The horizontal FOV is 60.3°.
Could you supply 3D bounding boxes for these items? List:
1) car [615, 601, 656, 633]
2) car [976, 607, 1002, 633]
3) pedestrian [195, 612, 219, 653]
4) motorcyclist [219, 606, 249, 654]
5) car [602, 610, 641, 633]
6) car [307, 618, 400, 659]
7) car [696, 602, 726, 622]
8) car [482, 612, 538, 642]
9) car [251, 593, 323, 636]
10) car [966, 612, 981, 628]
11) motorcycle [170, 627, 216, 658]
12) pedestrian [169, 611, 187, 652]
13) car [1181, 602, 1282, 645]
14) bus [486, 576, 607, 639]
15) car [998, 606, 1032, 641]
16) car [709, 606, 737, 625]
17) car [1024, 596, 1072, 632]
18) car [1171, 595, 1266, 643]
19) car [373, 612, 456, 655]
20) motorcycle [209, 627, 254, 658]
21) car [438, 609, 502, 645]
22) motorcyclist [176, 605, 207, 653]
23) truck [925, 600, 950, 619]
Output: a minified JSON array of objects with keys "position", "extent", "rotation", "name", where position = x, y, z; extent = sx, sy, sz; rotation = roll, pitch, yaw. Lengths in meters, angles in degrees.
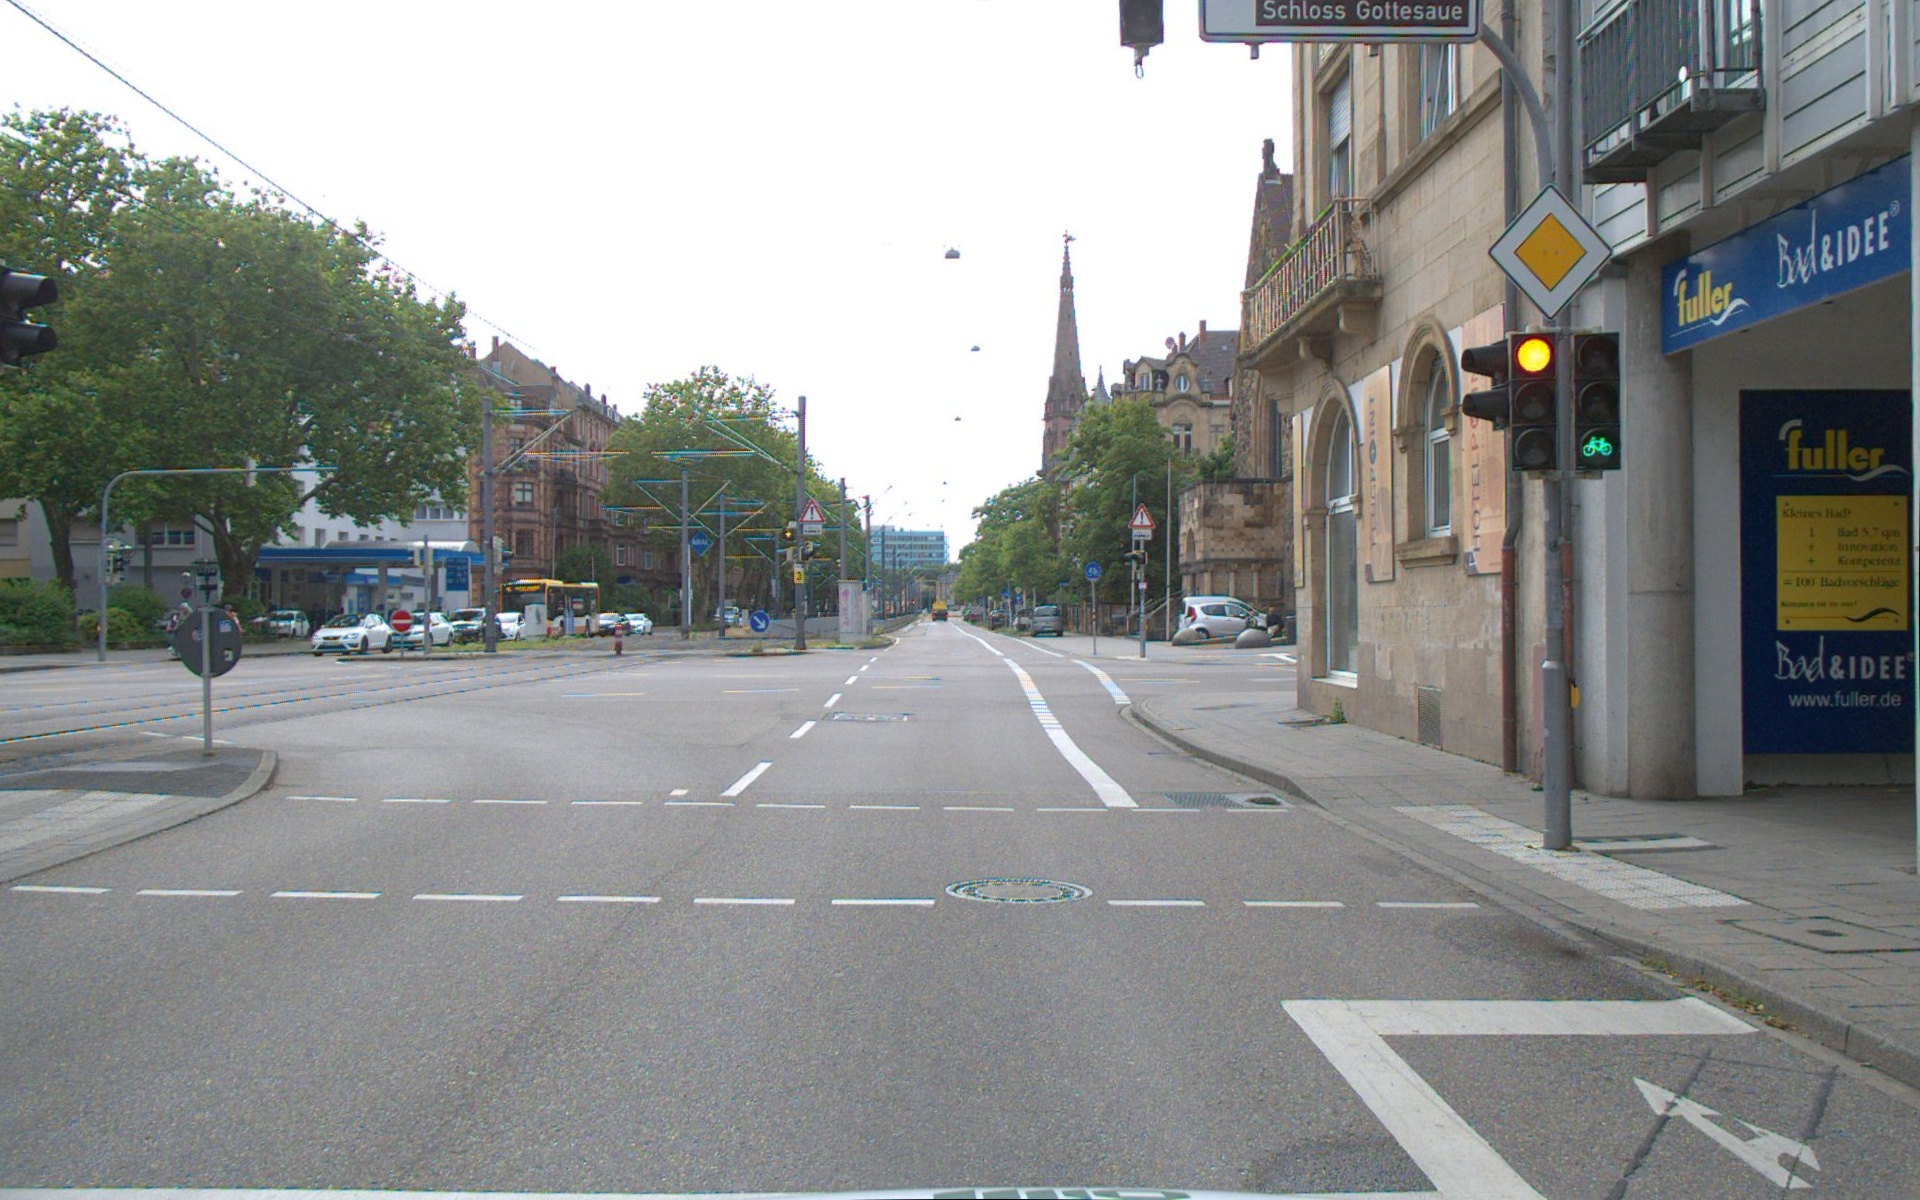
[{"position":[-21.409,1.130,109.277],"extent":[1.953,2.049,3.999],"rotation":[1,0,-1],"name":"car"},{"position":[2.376,1.621,136.220],"extent":[1.953,2.049,3.999],"rotation":[1,0,-1],"name":"car"},{"position":[-27.463,1.176,60.317],"extent":[0.634,1.505,0.557],"rotation":[0,0,-1],"name":"pedestrian"},{"position":[-23.578,0.954,53.713],"extent":[0.607,1.546,0.873],"rotation":[0,0,-1],"name":"motorcyclist"},{"position":[-20.837,1.303,101.904],"extent":[1.622,1.344,3.638],"rotation":[1,0,1],"name":"car"},{"position":[-21.436,1.332,58.585],"extent":[1.711,1.344,4.075],"rotation":[1,0,1],"name":"car"},{"position":[-21.220,1.019,141.199],"extent":[1.953,1.639,3.999],"rotation":[1,0,-1],"name":"car"},{"position":[-21.379,1.283,78.717],"extent":[1.622,1.344,3.638],"rotation":[1,0,1],"name":"car"},{"position":[-32.856,0.688,80.824],"extent":[1.953,2.049,3.999],"rotation":[0,0,-1],"name":"car"},{"position":[1.771,2.649,216.841],"extent":[1.953,2.049,3.999],"rotation":[1,0,-1],"name":"car"},{"position":[-24.798,1.369,53.481],"extent":[0.594,0.945,1.951],"rotation":[0,0,0],"name":"motorcycle"},{"position":[-28.414,1.154,60.080],"extent":[0.466,1.485,0.426],"rotation":[0,0,-1],"name":"pedestrian"},{"position":[10.675,0.922,65.133],"extent":[3.638,1.591,2.000],"rotation":[1,0,-1],"name":"car"},{"position":[-21.965,0.416,88.772],"extent":[3.164,3.088,12.312],"rotation":[1,0,1],"name":"bus"},{"position":[3.290,1.415,99.692],"extent":[1.952,2.049,4.000],"rotation":[1,0,1],"name":"car"},{"position":[-21.336,1.376,149.009],"extent":[1.953,1.639,3.999],"rotation":[1,0,-1],"name":"car"},{"position":[4.816,0.766,90.064],"extent":[1.951,1.888,4.030],"rotation":[1,0,12],"name":"car"},{"position":[10.692,0.791,68.573],"extent":[3.638,1.888,2.000],"rotation":[1,0,-1],"name":"car"},{"position":[-21.423,1.287,65.146],"extent":[1.953,1.622,3.999],"rotation":[1,0,-1],"name":"car"},{"position":[-23.578,1.376,53.557],"extent":[0.594,0.945,1.951],"rotation":[0,0,0],"name":"motorcycle"},{"position":[-21.222,1.139,71.799],"extent":[1.622,1.504,3.638],"rotation":[1,0,1],"name":"car"},{"position":[-24.802,0.925,53.370],"extent":[0.607,1.546,0.873],"rotation":[0,0,-1],"name":"motorcyclist"},{"position":[-3.382,1.374,250.622],"extent":[2.991,2.817,9.819],"rotation":[0,0,3],"name":"truck"}]
